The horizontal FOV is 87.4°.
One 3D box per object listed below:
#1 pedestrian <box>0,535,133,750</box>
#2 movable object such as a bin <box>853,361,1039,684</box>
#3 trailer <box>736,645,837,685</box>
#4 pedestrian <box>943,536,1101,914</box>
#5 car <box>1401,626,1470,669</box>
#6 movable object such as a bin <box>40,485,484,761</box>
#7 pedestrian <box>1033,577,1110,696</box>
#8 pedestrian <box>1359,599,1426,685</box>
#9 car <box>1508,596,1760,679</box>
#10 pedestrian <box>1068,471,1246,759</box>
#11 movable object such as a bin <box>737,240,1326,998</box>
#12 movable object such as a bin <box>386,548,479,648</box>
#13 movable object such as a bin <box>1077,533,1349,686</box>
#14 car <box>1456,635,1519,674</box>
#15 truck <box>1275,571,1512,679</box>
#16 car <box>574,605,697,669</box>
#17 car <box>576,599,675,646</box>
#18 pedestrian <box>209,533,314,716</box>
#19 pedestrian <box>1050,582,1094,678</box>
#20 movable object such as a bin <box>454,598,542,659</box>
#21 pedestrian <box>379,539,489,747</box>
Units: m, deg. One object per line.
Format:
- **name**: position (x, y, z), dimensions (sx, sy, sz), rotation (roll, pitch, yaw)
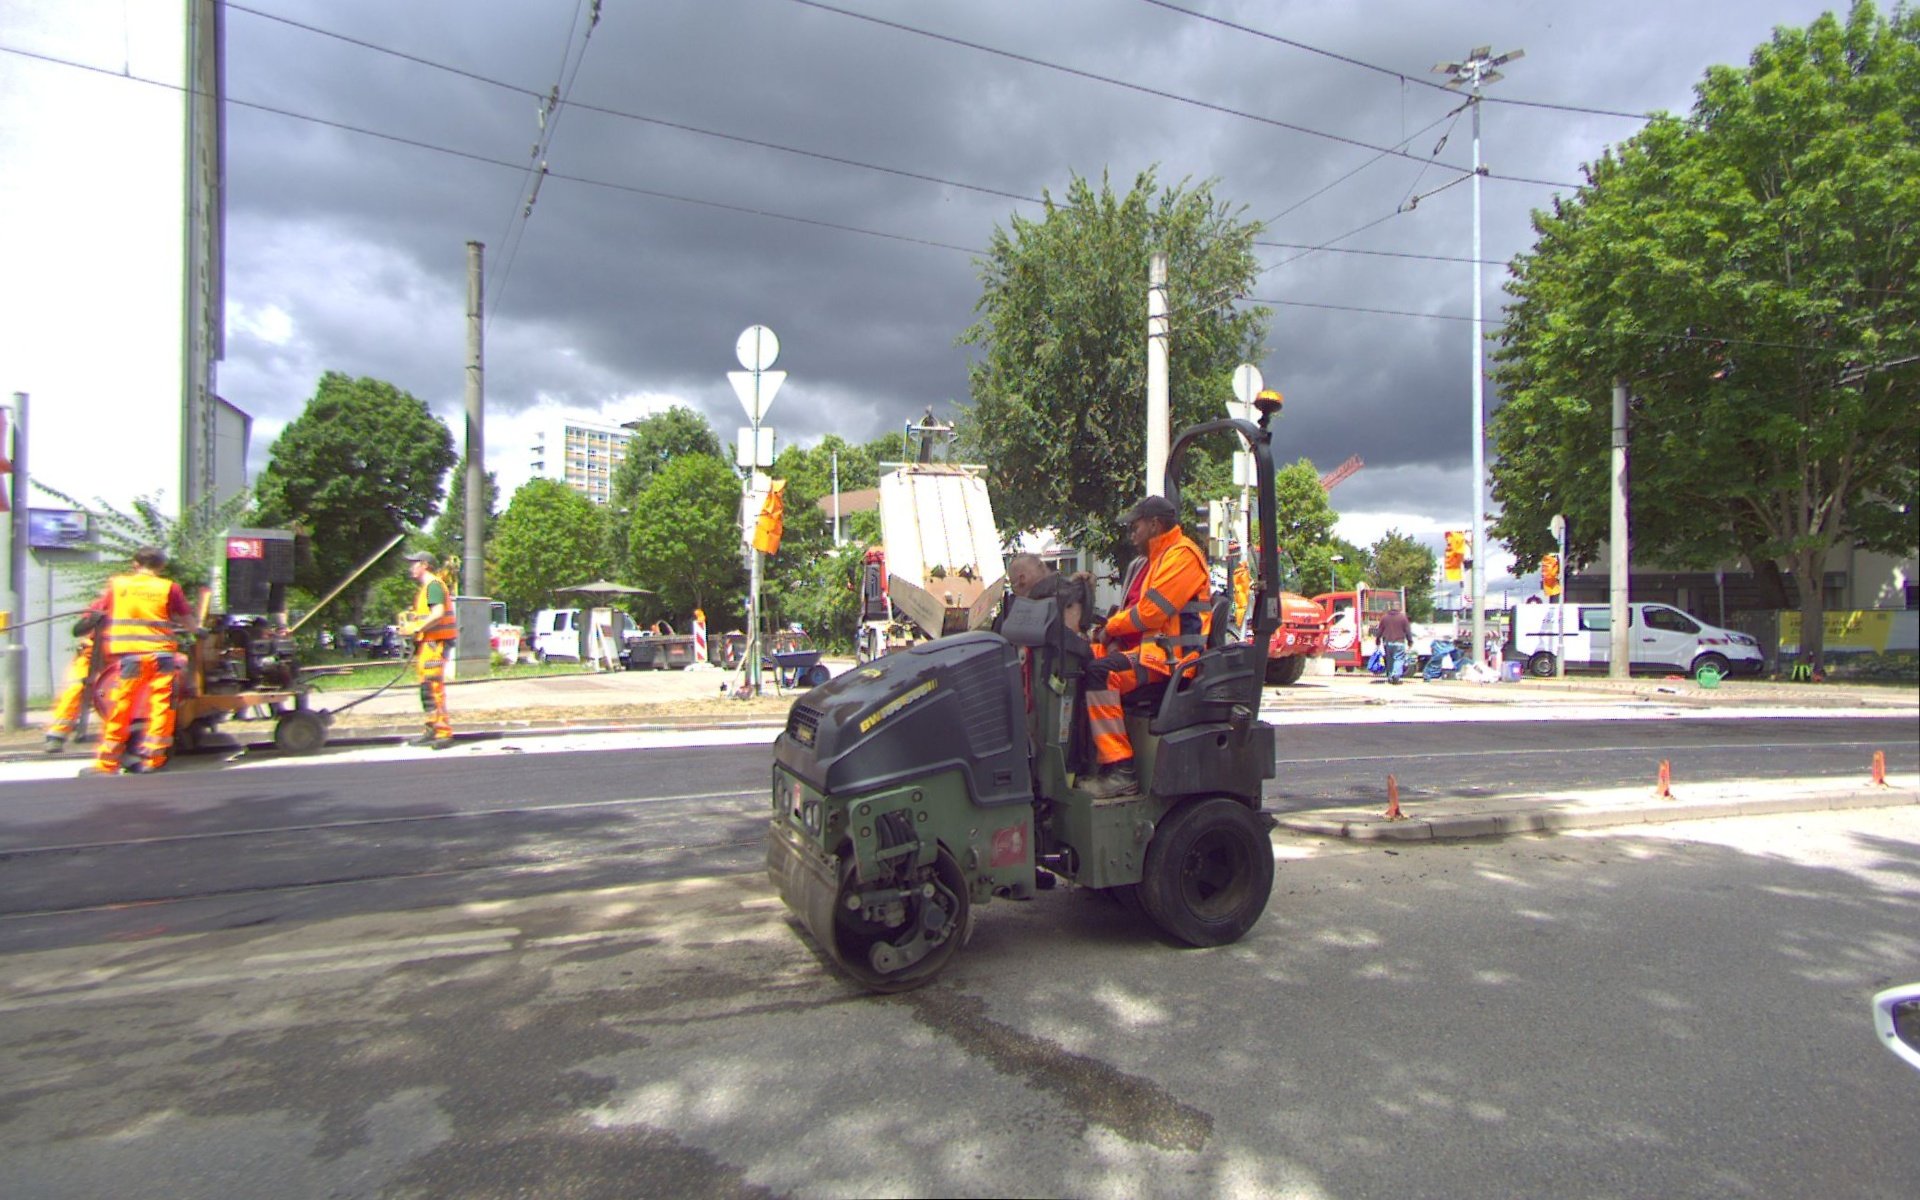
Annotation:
- **pedestrian**: position (-7.778, 0.348, 8.586), dimensions (0.907, 1.739, 0.854), rotation (0, 0, -27)
- **movable object such as a bin**: position (-0.681, -1.178, 21.901), dimensions (2.770, 5.557, 9.024), rotation (1, -2, -9)
- **trailer**: position (-2.826, 1.046, 16.332), dimensions (1.570, 0.624, 0.795), rotation (1, -2, -14)
- **pedestrian**: position (0.297, 0.564, 4.872), dimensions (0.553, 1.704, 0.466), rotation (1, 1, -34)
- **car**: position (17.161, 1.684, 36.214), dimensions (1.540, 1.474, 3.190), rotation (-1, -2, 39)
- **movable object such as a bin**: position (-5.940, 0.216, 8.996), dimensions (2.931, 2.040, 1.986), rotation (1, -2, -28)
- **pedestrian**: position (1.795, 0.582, 16.231), dimensions (0.956, 1.857, 0.793), rotation (2, 0, -18)
- **pedestrian**: position (8.750, 0.832, 20.327), dimensions (0.865, 1.681, 0.920), rotation (0, -1, -33)
- **car**: position (17.015, 0.949, 25.566), dimensions (5.169, 1.911, 1.992), rotation (-1, -4, 38)
- **pedestrian**: position (0.910, 0.072, 4.689), dimensions (0.609, 1.232, 0.547), rotation (1, -1, -27)
- **movable object such as a bin**: position (0.310, 0.086, 4.603), dimensions (2.332, 2.628, 1.312), rotation (1, 0, -27)
- **movable object such as a bin**: position (-26.014, 0.006, 49.386), dimensions (2.803, 4.595, 6.139), rotation (2, -2, -39)
- **movable object such as a bin**: position (4.974, 0.193, 20.719), dimensions (2.092, 2.704, 5.540), rotation (2, -1, -31)
- **car**: position (21.292, 2.172, 40.475), dimensions (1.749, 1.478, 3.864), rotation (-1, -2, 35)
- **truck**: position (11.558, 0.746, 27.268), dimensions (2.393, 2.602, 5.535), rotation (1, -3, -32)
- **car**: position (-10.401, 1.163, 32.084), dimensions (4.285, 1.906, 1.988), rotation (-2, -3, 45)
- **car**: position (-15.608, 1.080, 46.675), dimensions (1.987, 2.040, 5.831), rotation (2, -3, -44)
- **pedestrian**: position (-7.539, 0.262, 10.858), dimensions (0.865, 1.848, 1.085), rotation (1, -1, -36)
- **pedestrian**: position (2.161, 0.571, 19.333), dimensions (0.606, 1.812, 0.576), rotation (-1, 0, -34)
- **movable object such as a bin**: position (-19.538, 1.211, 42.443), dimensions (3.943, 2.441, 1.989), rotation (-1, -2, 42)
- **pedestrian**: position (-5.009, 0.398, 9.556), dimensions (0.762, 1.863, 0.775), rotation (1, -2, -40)
